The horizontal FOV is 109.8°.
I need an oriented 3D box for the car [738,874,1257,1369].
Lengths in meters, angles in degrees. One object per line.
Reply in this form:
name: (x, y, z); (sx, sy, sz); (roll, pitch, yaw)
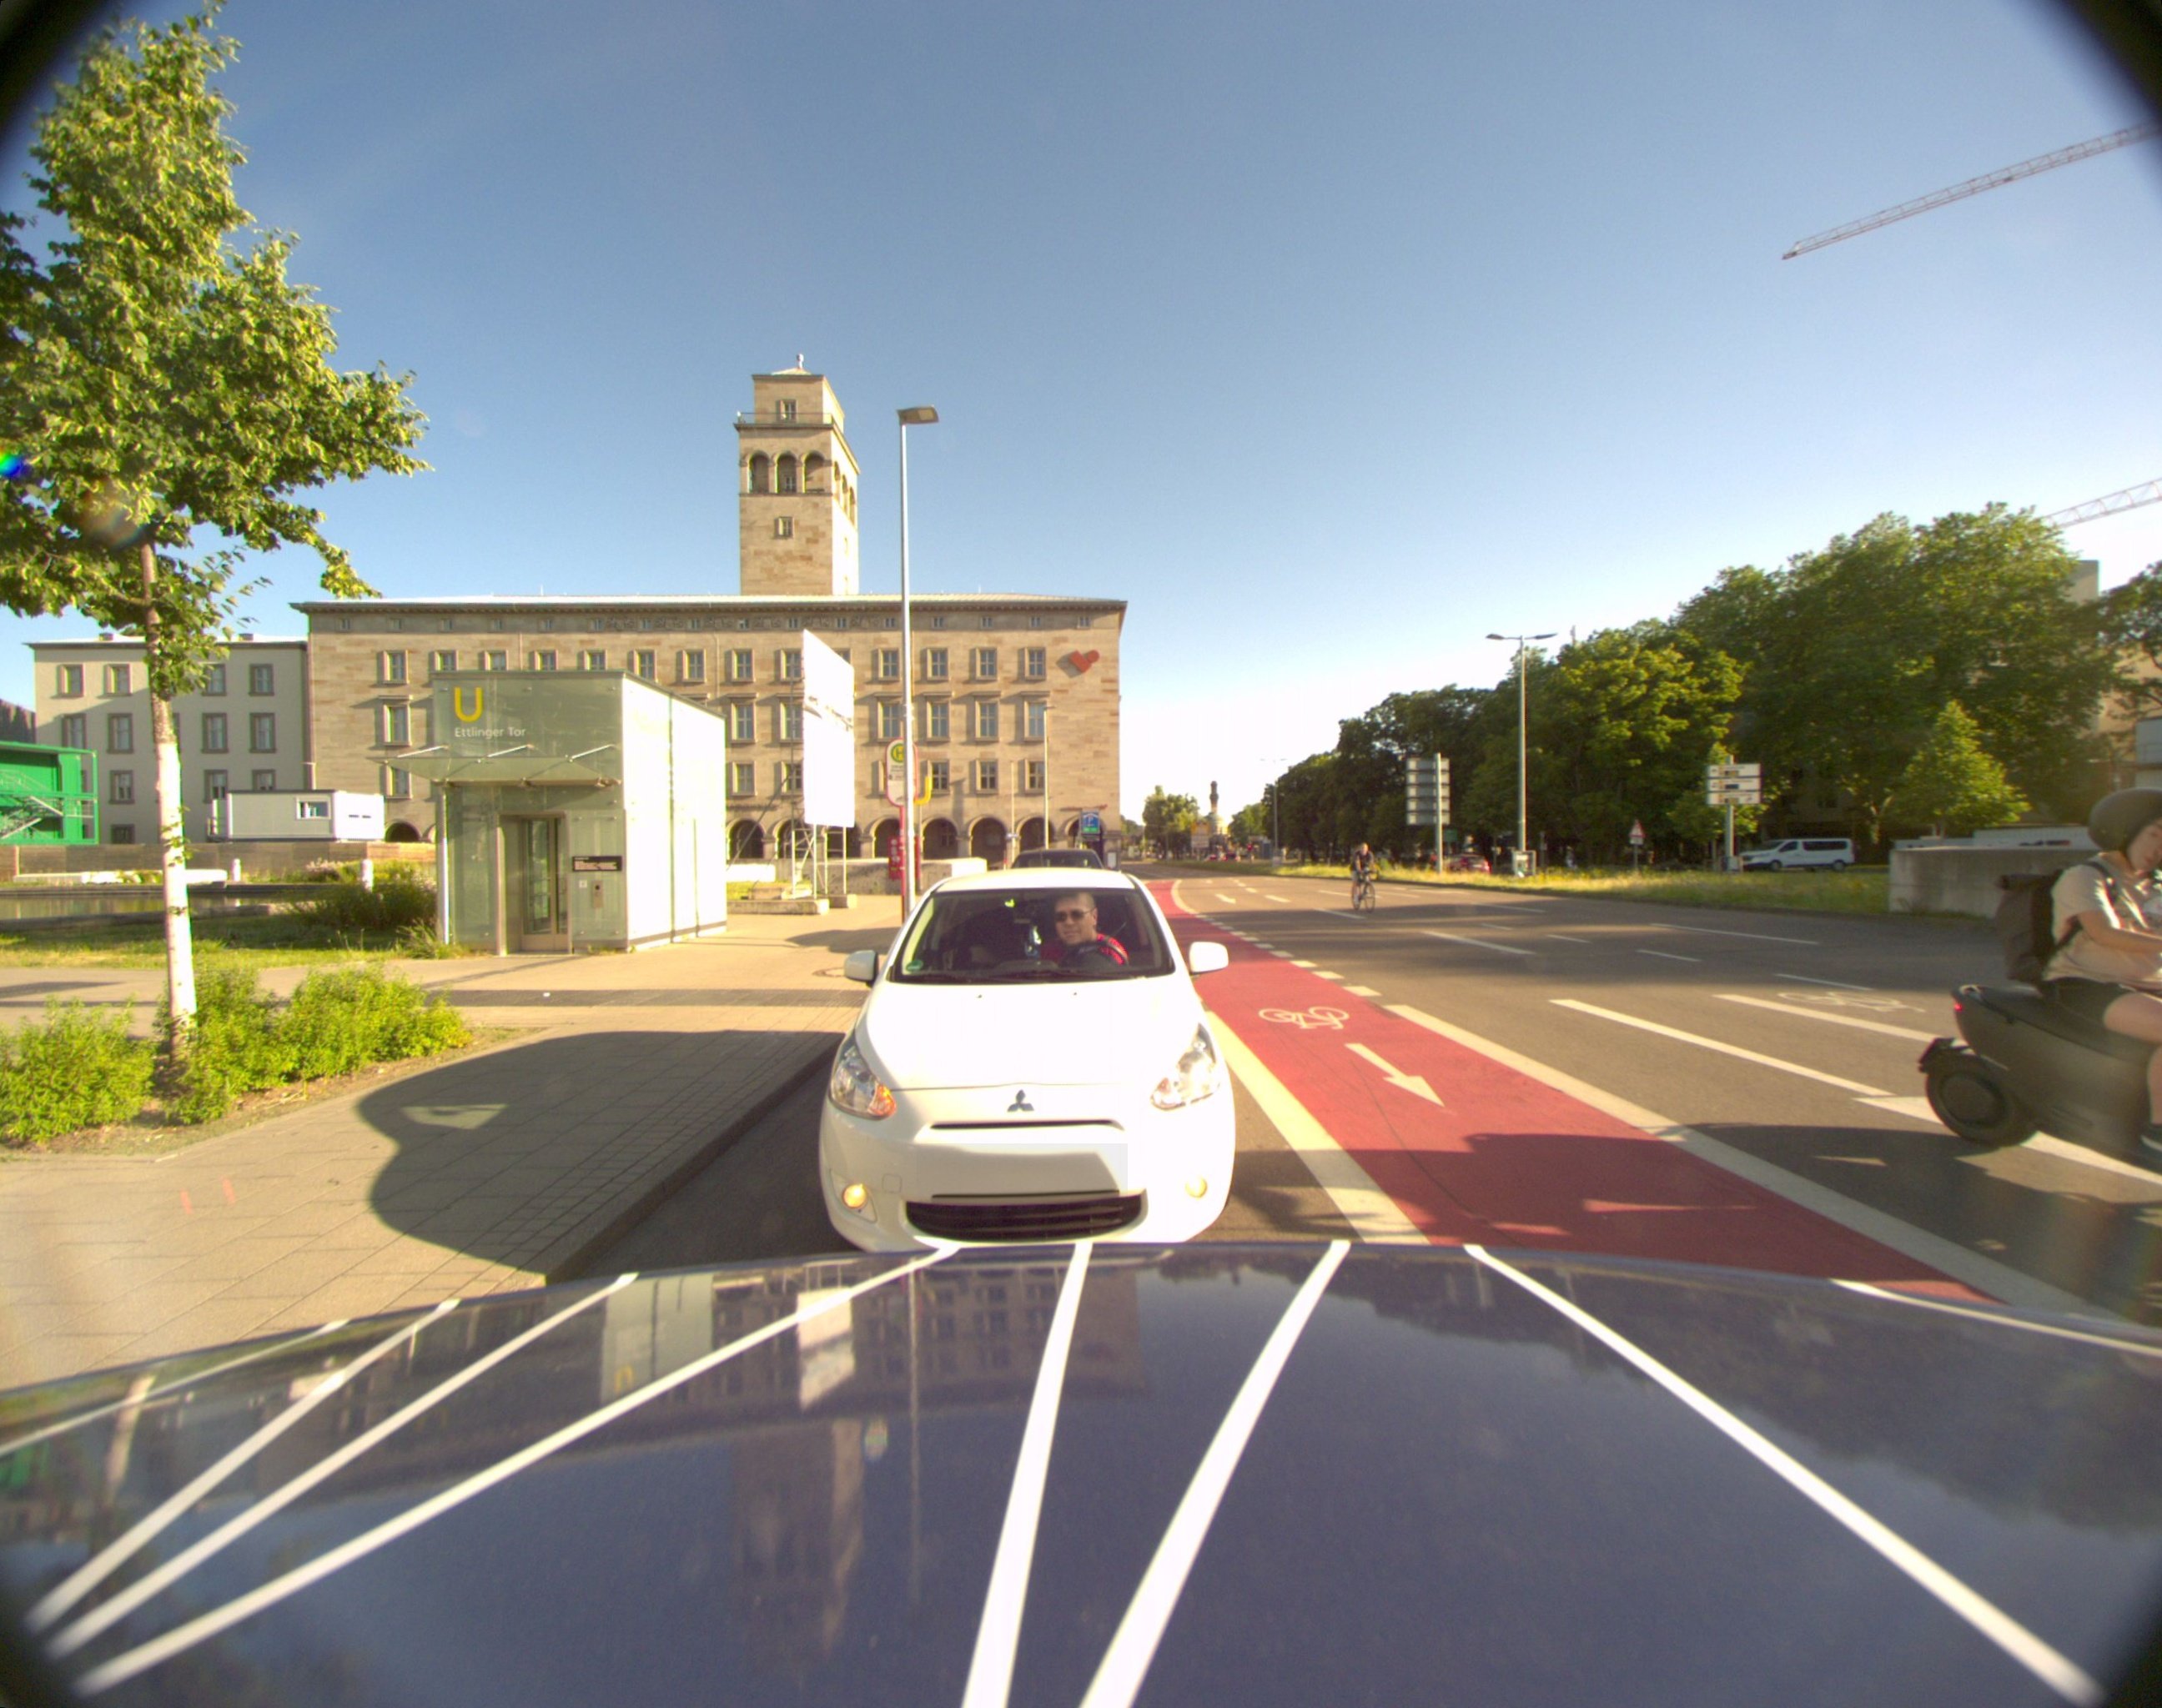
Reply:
car: (-0.249, 0.946, 4.508); (1.660, 1.463, 3.969); (-3, 0, 1)

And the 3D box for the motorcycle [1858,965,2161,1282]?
motorcycle: (4.310, 1.063, 2.914); (0.756, 0.963, 1.960); (-1, 0, 5)

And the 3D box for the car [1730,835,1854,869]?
car: (42.071, -0.118, 45.044); (5.325, 1.880, 2.000); (-1, 0, 2)

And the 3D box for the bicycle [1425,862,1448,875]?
bicycle: (24.159, 0.961, 51.659); (0.617, 0.800, 1.980); (-1, 0, 1)

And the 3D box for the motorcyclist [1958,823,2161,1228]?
motorcyclist: (4.316, 0.613, 2.968); (0.756, 1.475, 0.882); (-1, 1, 5)

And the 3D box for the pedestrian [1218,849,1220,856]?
pedestrian: (30.901, -0.306, 170.334); (0.442, 1.550, 0.499); (-1, 1, 1)

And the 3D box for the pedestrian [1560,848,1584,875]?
pedestrian: (33.314, 0.497, 51.559); (0.997, 1.773, 0.964); (-2, 1, 1)

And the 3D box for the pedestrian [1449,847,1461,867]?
pedestrian: (32.046, 0.265, 65.051); (0.664, 1.716, 0.698); (-1, 1, 0)

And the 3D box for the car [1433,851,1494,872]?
car: (22.101, 0.390, 44.062); (1.618, 1.126, 3.770); (-2, 0, -1)

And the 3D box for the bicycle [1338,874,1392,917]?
bicycle: (6.735, 0.964, 18.111); (0.624, 0.903, 1.910); (-2, 0, 2)

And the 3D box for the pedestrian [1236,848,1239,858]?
pedestrian: (32.421, -0.247, 157.110); (0.525, 1.955, 0.594); (-1, 1, -2)

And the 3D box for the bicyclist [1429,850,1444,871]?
bicyclist: (24.152, 0.433, 51.647); (0.617, 1.359, 0.768); (-1, 1, 1)

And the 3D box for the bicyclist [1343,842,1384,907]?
bicyclist: (6.721, 0.471, 18.114); (0.624, 1.494, 0.938); (-2, 1, 2)

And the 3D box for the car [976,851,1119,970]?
car: (-0.486, 0.790, 13.132); (1.999, 1.652, 4.791); (-1, 0, 0)

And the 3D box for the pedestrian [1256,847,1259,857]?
pedestrian: (35.521, -0.317, 152.798); (0.525, 2.002, 0.594); (-1, 1, -2)

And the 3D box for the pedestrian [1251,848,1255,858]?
pedestrian: (34.563, -0.280, 152.834); (0.525, 2.002, 0.594); (-1, 1, -2)

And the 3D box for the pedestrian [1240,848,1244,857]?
pedestrian: (33.282, -0.305, 157.166); (0.525, 2.002, 0.594); (-1, 1, -2)
